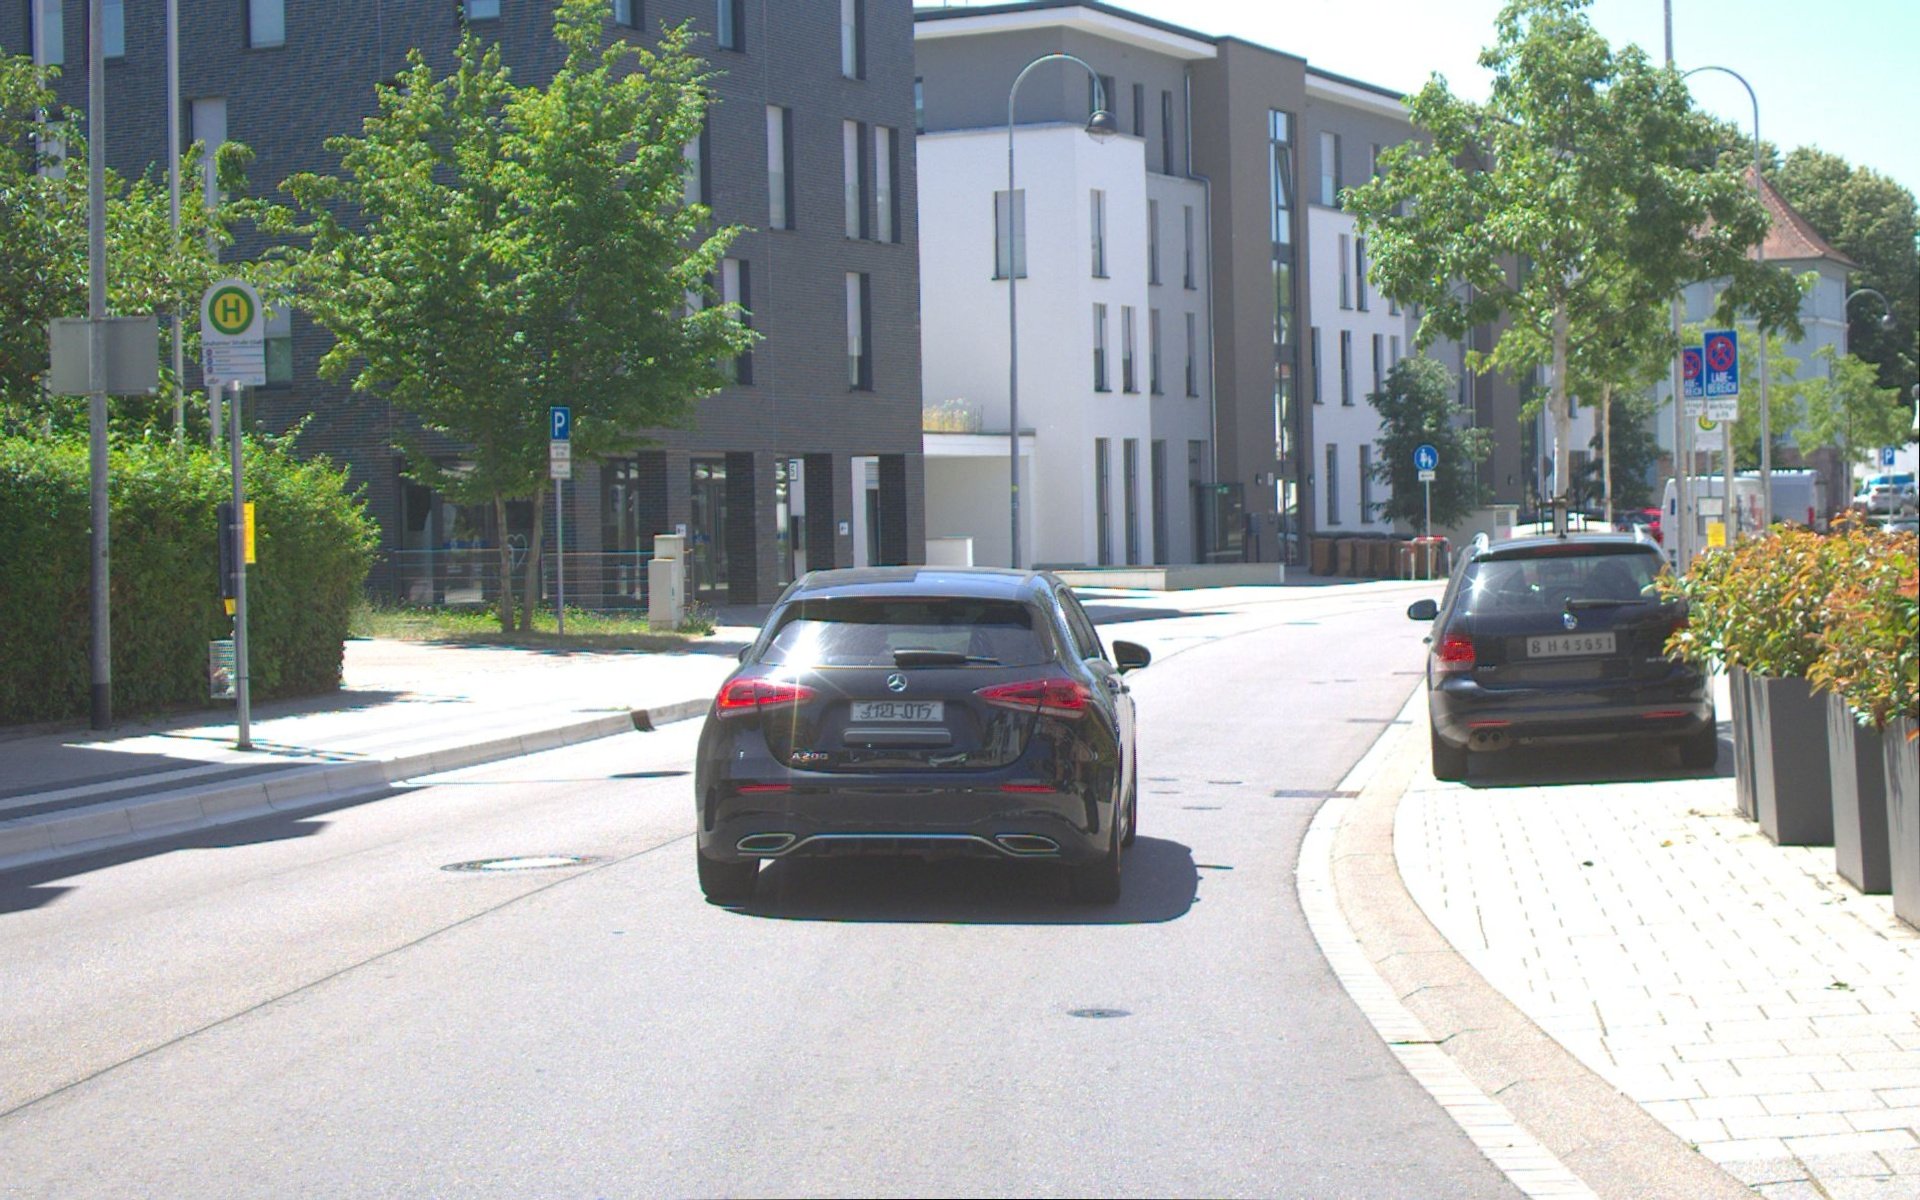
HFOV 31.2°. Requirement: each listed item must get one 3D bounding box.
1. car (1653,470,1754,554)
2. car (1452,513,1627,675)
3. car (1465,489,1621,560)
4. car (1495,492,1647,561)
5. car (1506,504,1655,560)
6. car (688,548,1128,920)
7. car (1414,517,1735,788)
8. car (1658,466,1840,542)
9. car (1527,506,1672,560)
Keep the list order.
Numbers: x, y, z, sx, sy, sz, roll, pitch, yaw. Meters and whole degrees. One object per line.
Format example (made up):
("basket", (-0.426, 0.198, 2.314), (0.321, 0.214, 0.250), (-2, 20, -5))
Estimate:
("car", (18.251, -2.159, 84.317), (1.995, 2.007, 3.997), (0, 1, 18))
("car", (5.938, -0.099, 35.522), (1.606, 1.525, 3.491), (-2, 1, 8))
("car", (16.839, -2.164, 99.283), (3.993, 2.007, 1.997), (0, 1, 30))
("car", (18.010, -2.165, 101.351), (3.993, 2.007, 1.997), (0, 1, 30))
("car", (18.753, -2.066, 103.862), (3.993, 1.656, 1.997), (0, 1, 29))
("car", (-0.108, 0.502, 15.994), (1.763, 1.452, 4.438), (0, 1, 3))
("car", (3.867, 0.263, 21.900), (1.750, 1.481, 3.999), (-3, 1, 9))
("car", (27.364, -3.309, 119.269), (5.651, 2.570, 2.511), (0, 1, 30))
("car", (19.815, -2.075, 106.546), (3.993, 1.656, 1.997), (0, 1, 29))
